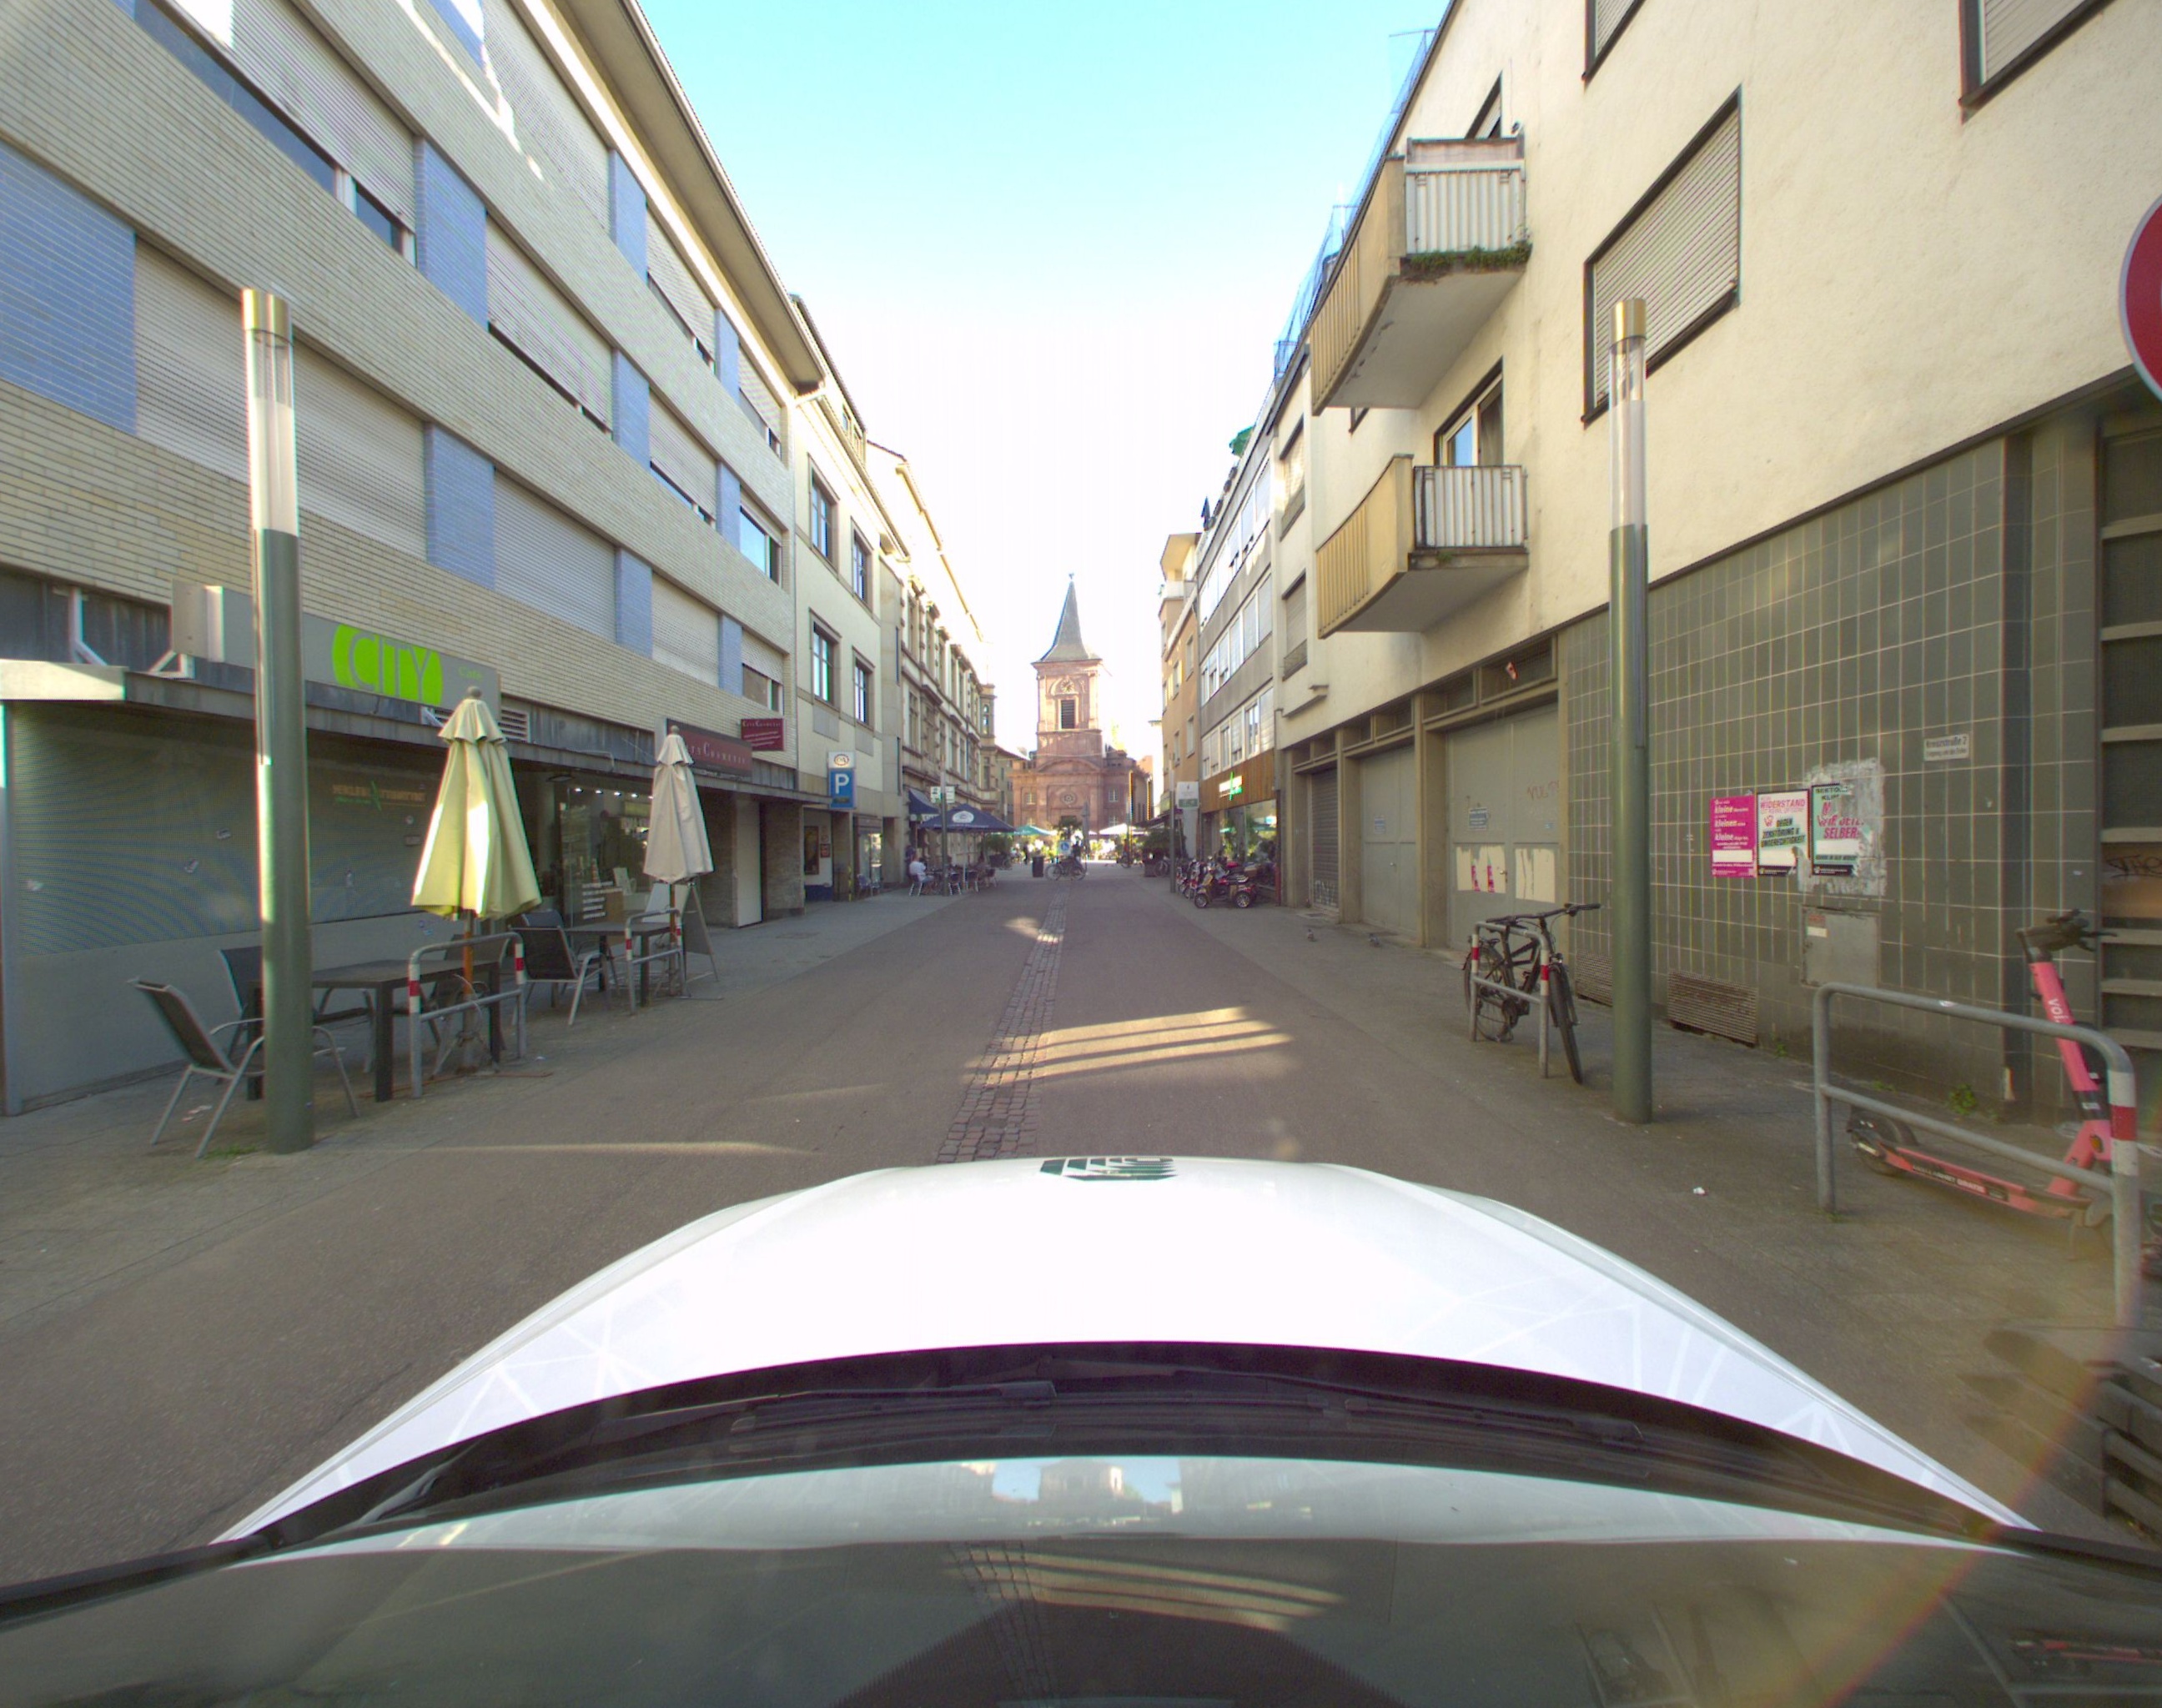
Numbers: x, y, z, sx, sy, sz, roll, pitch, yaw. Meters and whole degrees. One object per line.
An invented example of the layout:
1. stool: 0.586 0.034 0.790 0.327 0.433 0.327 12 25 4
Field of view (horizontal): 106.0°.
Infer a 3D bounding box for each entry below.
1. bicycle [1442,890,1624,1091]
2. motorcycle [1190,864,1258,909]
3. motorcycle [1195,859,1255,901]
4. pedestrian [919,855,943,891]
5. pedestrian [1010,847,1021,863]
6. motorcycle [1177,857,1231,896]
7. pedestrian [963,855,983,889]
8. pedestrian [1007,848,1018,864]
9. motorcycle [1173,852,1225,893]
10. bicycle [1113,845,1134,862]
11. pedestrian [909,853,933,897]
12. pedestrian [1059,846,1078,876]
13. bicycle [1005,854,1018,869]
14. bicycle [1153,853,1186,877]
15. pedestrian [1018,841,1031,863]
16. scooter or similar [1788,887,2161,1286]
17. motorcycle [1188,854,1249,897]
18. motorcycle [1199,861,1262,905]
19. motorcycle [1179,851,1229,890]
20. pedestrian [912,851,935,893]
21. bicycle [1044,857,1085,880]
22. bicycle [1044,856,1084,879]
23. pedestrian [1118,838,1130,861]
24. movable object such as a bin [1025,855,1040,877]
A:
1. bicycle: 3.088 0.856 5.736 0.444 1.140 1.712 0 -1 5
2. motorcycle: 3.464 0.785 19.736 1.552 1.041 0.374 -1 0 17
3. motorcycle: 3.806 0.677 21.530 1.472 1.075 0.414 -1 0 17
4. pedestrian: -5.316 0.653 28.925 0.764 1.233 0.829 -1 1 -9
5. pedestrian: -5.192 0.058 64.428 0.697 1.218 0.720 -1 0 5
6. motorcycle: 3.541 0.648 23.401 1.472 1.075 0.414 -1 0 17
7. pedestrian: -3.952 0.661 29.667 0.692 1.215 0.581 -1 0 -9
8. pedestrian: -5.287 0.136 62.996 0.697 1.218 0.720 -1 0 5
9. motorcycle: 3.530 0.552 24.349 1.473 1.181 0.414 -1 0 14
10. bicycle: 3.268 -0.051 62.417 1.596 1.308 0.362 -1 0 -30
11. pedestrian: -5.145 0.676 26.203 0.708 1.368 0.717 -1 0 -13
12. pedestrian: -0.630 0.336 41.158 0.881 1.464 0.731 -1 0 0
13. bicycle: -4.184 0.448 49.092 0.455 0.850 2.148 -1 1 3
14. bicycle: 3.937 0.482 36.245 1.456 1.005 0.574 -1 0 6
15. pedestrian: -4.027 -0.154 58.412 0.777 1.555 0.537 -1 0 17
16. scooter or similar: 3.604 0.792 3.311 0.306 1.252 1.237 -1 0 -4
17. motorcycle: 3.831 0.595 22.681 1.612 1.175 0.483 -1 0 17
18. motorcycle: 3.770 0.727 20.545 1.504 1.075 0.414 -1 0 17
19. motorcycle: 3.852 0.506 25.425 1.473 1.181 0.414 -1 0 14
20. pedestrian: -5.266 0.600 27.215 0.718 1.368 0.707 -1 0 -13
21. bicycle: -0.750 0.664 36.650 1.820 1.005 0.381 -1 0 -4
22. bicycle: -0.772 0.620 37.051 1.820 1.005 0.381 -1 0 -4
23. pedestrian: 3.141 -0.311 59.592 0.615 1.641 0.651 -1 0 -34
24. movable object such as a bin: -2.368 0.578 39.865 0.719 1.074 0.374 -1 0 -2
